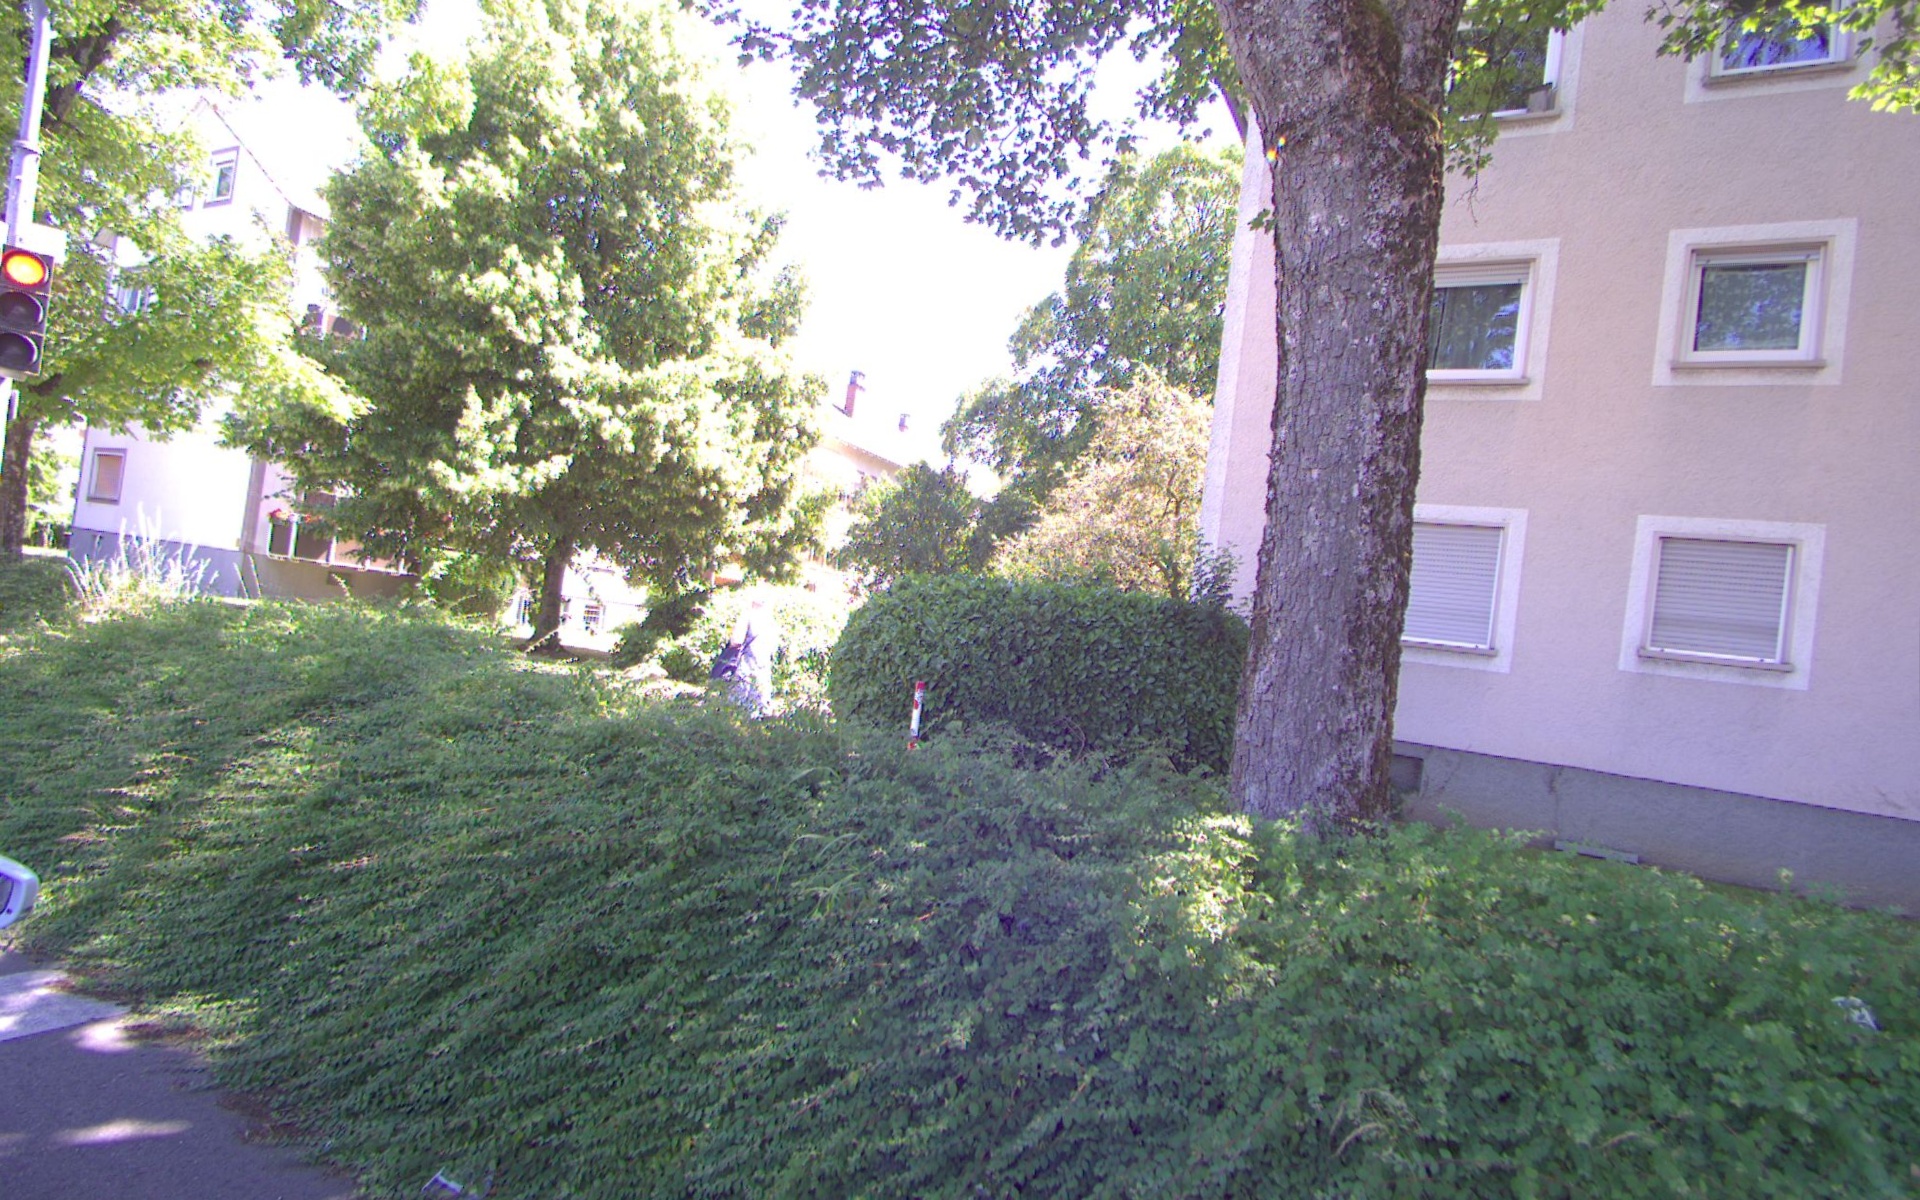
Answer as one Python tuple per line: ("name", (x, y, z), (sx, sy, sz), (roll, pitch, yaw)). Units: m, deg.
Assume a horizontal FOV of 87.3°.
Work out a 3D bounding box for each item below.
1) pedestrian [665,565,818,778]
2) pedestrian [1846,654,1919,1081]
("pedestrian", (-1.853, 0.599, 8.597), (0.836, 1.653, 0.720), (7, 0, 23))
("pedestrian", (4.775, 1.236, 4.499), (0.886, 1.893, 0.676), (7, -4, 10))
